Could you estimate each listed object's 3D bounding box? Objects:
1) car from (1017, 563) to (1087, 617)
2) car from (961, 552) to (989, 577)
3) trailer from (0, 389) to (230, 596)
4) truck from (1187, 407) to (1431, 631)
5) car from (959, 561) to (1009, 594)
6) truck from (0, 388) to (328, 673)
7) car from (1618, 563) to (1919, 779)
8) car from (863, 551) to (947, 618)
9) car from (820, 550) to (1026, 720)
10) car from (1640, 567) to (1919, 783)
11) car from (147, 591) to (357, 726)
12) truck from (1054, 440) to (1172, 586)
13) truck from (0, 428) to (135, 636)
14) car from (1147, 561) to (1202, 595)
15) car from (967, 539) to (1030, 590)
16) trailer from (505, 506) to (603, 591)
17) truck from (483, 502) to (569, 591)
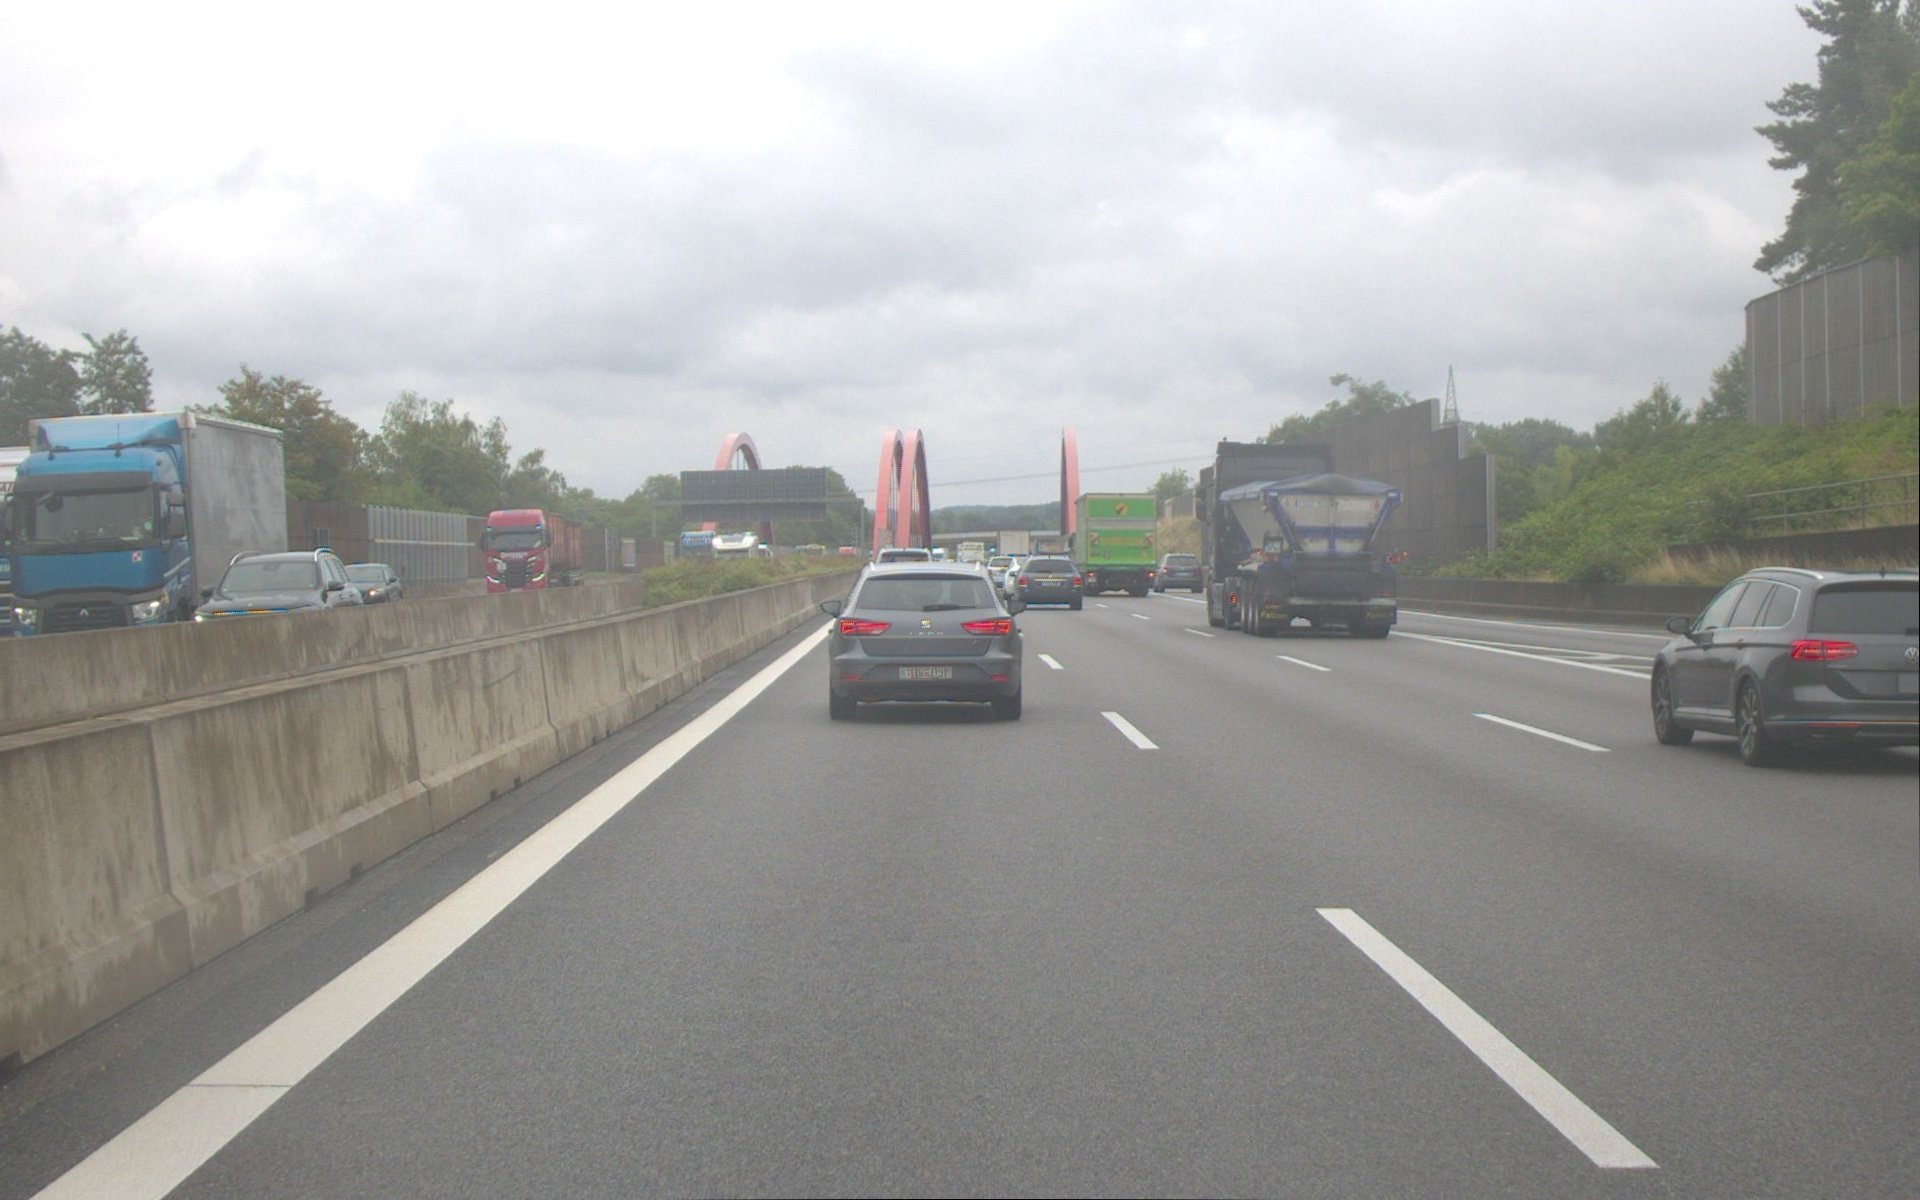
[{"bbox_3d":[2.462,-0.293,92.937,1.782,1.401,3.626,1,1,0],"label":"car"},{"bbox_3d":[1.085,-2.538,245.717,1.993,1.809,4.000,1,1,0],"label":"car"},{"bbox_3d":[-17.966,-2.136,71.815,2.903,3.922,12.445,-1,1,-1],"label":"trailer"},{"bbox_3d":[6.637,-1.498,67.579,3.089,3.936,12.946,-1,0,-2],"label":"truck"},{"bbox_3d":[1.008,-0.966,144.400,1.993,1.349,4.000,-1,1,-1],"label":"car"},{"bbox_3d":[-13.631,-1.119,59.049,3.151,4.310,12.680,1,0,0],"label":"truck"},{"bbox_3d":[6.522,0.469,26.111,1.939,1.422,5.289,1,1,-1],"label":"car"},{"bbox_3d":[-1.334,-0.398,84.150,1.993,1.579,4.000,-1,1,-1],"label":"car"},{"bbox_3d":[-0.368,0.280,31.680,1.763,1.448,4.000,1,1,-1],"label":"car"},{"bbox_3d":[6.421,0.501,25.698,1.663,1.451,4.471,1,0,-1],"label":"car"},{"bbox_3d":[-9.986,0.785,48.872,1.993,1.730,5.002,0,1,-1],"label":"car"},{"bbox_3d":[5.665,-3.247,129.817,3.997,5.248,11.220,-1,1,0],"label":"truck"},{"bbox_3d":[-17.918,-1.277,65.729,2.888,3.783,5.890,-1,1,0],"label":"truck"},{"bbox_3d":[8.905,-0.914,142.920,1.993,1.349,4.000,-1,1,-1],"label":"car"},{"bbox_3d":[1.250,-1.181,113.394,1.993,1.656,4.000,0,1,-1],"label":"car"},{"bbox_3d":[-18.380,-2.331,156.370,2.727,3.671,12.563,0,1,1],"label":"trailer"},{"bbox_3d":[-18.595,-2.272,147.509,2.696,3.694,6.480,1,0,1],"label":"truck"}]
